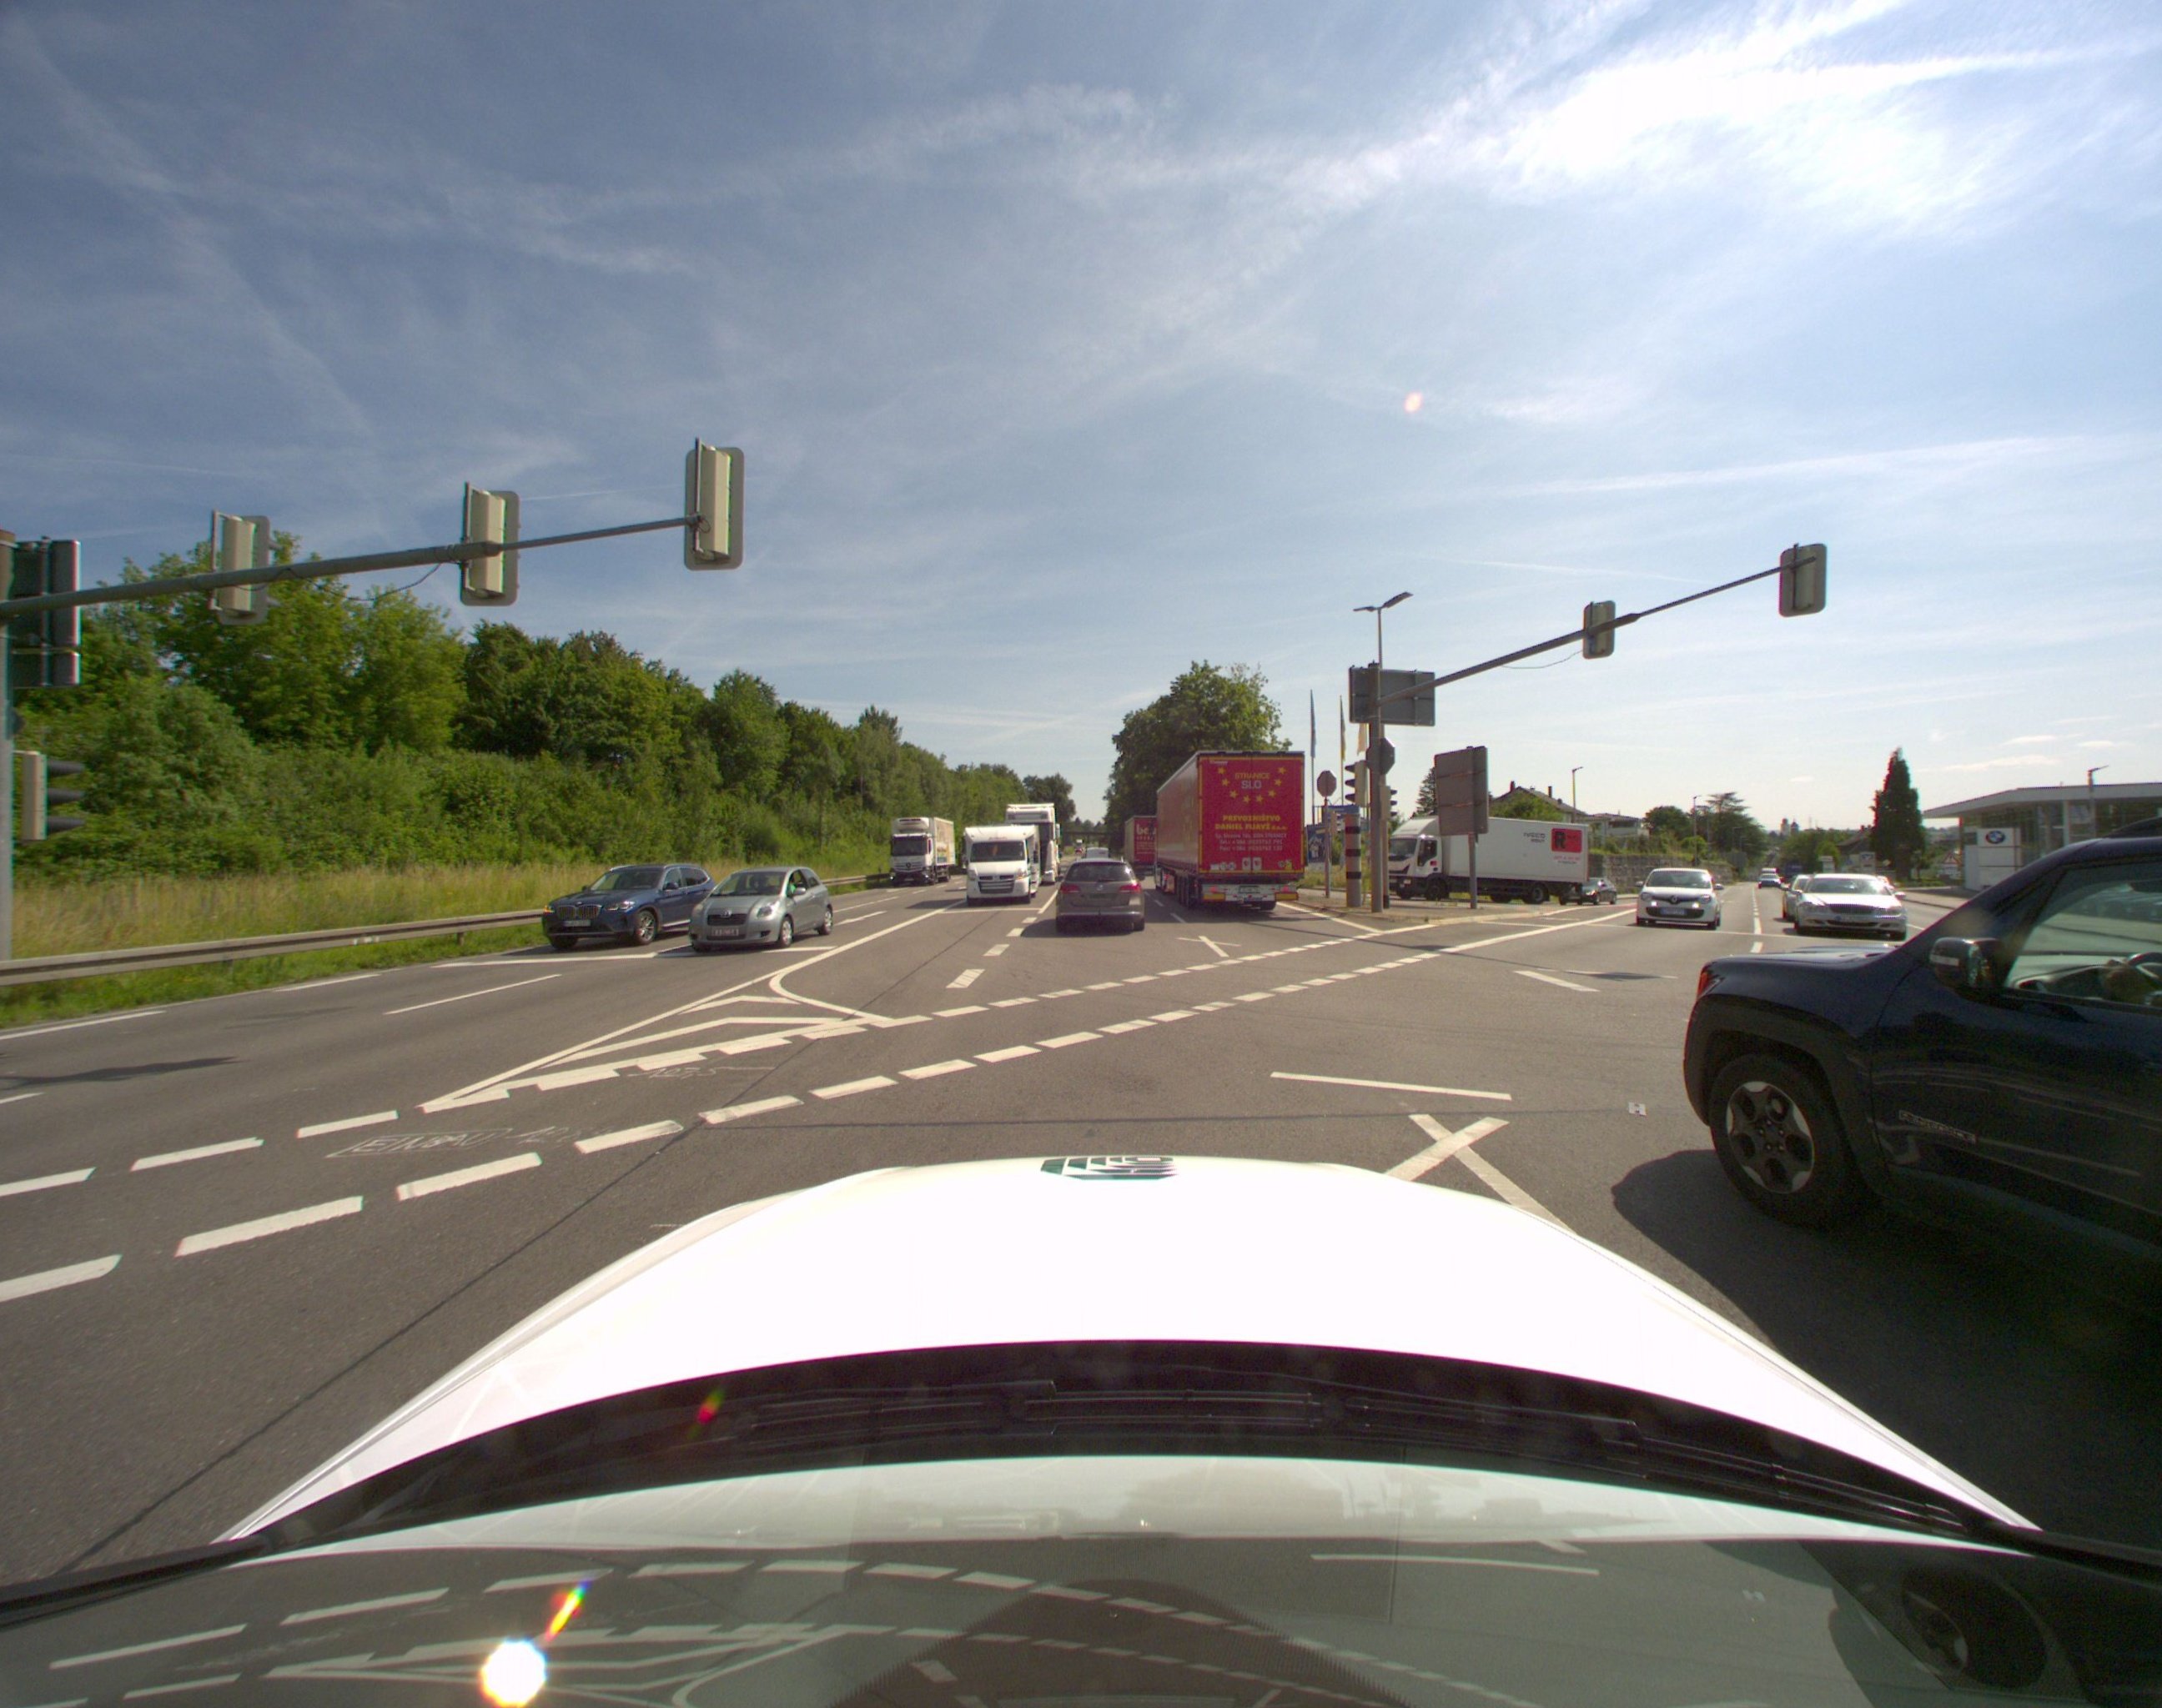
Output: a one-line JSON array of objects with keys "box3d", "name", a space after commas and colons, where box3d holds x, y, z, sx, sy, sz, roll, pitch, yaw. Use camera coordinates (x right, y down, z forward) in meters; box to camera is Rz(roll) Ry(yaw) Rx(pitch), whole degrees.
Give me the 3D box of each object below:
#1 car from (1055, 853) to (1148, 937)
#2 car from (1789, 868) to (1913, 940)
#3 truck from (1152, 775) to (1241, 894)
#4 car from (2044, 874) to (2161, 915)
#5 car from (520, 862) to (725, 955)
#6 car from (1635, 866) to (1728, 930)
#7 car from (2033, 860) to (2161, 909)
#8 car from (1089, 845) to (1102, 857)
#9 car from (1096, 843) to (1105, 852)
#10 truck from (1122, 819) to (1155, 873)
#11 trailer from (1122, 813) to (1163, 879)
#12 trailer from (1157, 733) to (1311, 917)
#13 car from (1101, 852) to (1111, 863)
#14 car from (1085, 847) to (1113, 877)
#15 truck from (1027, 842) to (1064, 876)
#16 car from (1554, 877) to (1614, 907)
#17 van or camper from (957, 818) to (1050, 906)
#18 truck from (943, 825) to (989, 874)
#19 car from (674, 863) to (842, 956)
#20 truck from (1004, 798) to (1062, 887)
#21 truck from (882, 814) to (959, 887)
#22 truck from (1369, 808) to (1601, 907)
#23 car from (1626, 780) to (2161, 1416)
[{"box3d": [0.377, 0.777, 17.262, 1.686, 1.513, 3.999, -2, 0, 0], "name": "car"}, {"box3d": [18.581, 1.143, 19.858, 1.975, 1.505, 5.030, 0, -1, 41], "name": "car"}, {"box3d": [4.431, -0.702, 32.431, 2.860, 4.281, 5.840, 0, 0, 1], "name": "truck"}, {"box3d": [44.862, 1.732, 34.974, 4.028, 1.618, 2.118, -2, 0, 34], "name": "car"}, {"box3d": [-9.755, 1.065, 17.810, 1.987, 1.676, 4.306, -2, 0, 0], "name": "car"}, {"box3d": [15.776, 1.108, 21.322, 1.689, 1.504, 3.778, 0, -2, 40], "name": "car"}, {"box3d": [46.410, 1.379, 36.727, 4.028, 2.035, 2.082, -2, 0, 34], "name": "car"}, {"box3d": [2.448, -0.459, 138.641, 1.987, 2.013, 3.999, -2, 0, 0], "name": "car"}, {"box3d": [4.732, -1.509, 194.558, 1.987, 2.013, 3.999, -2, 0, 0], "name": "car"}, {"box3d": [4.647, -0.596, 66.426, 2.397, 4.127, 5.524, -2, 0, 2], "name": "truck"}, {"box3d": [4.366, -0.518, 59.798, 2.386, 4.243, 13.084, -2, 0, 2], "name": "trailer"}, {"box3d": [4.232, -0.675, 25.894, 2.828, 4.365, 13.172, 0, 0, 2], "name": "trailer"}, {"box3d": [4.989, 0.694, 162.663, 1.987, 2.013, 3.999, -2, 0, 0], "name": "car"}, {"box3d": [1.189, 0.555, 56.376, 1.765, 1.936, 3.977, -2, 0, 0], "name": "car"}, {"box3d": [-2.500, 0.382, 59.179, 2.219, 2.267, 6.500, -2, 0, 1], "name": "truck"}, {"box3d": [26.065, 1.932, 42.133, 1.974, 1.460, 4.347, -2, -2, 40], "name": "car"}, {"box3d": [-2.476, 0.259, 28.159, 2.322, 2.600, 6.979, -2, 0, 1], "name": "van or camper"}, {"box3d": [-10.546, -0.384, 75.741, 2.821, 4.116, 9.679, -2, 0, 0], "name": "truck"}, {"box3d": [-6.128, 0.978, 15.987, 1.720, 1.502, 3.998, -2, 0, -1], "name": "car"}, {"box3d": [-2.326, -0.528, 41.590, 2.529, 4.088, 6.263, -2, 0, -1], "name": "truck"}, {"box3d": [-9.706, -0.171, 50.314, 2.720, 3.999, 9.618, -2, 0, 0], "name": "truck"}, {"box3d": [17.575, 0.239, 35.384, 9.690, 3.628, 2.752, 3, -2, -16], "name": "truck"}, {"box3d": [3.672, 0.606, 2.205, 1.763, 1.654, 4.002, -2, 0, 2], "name": "car"}]
